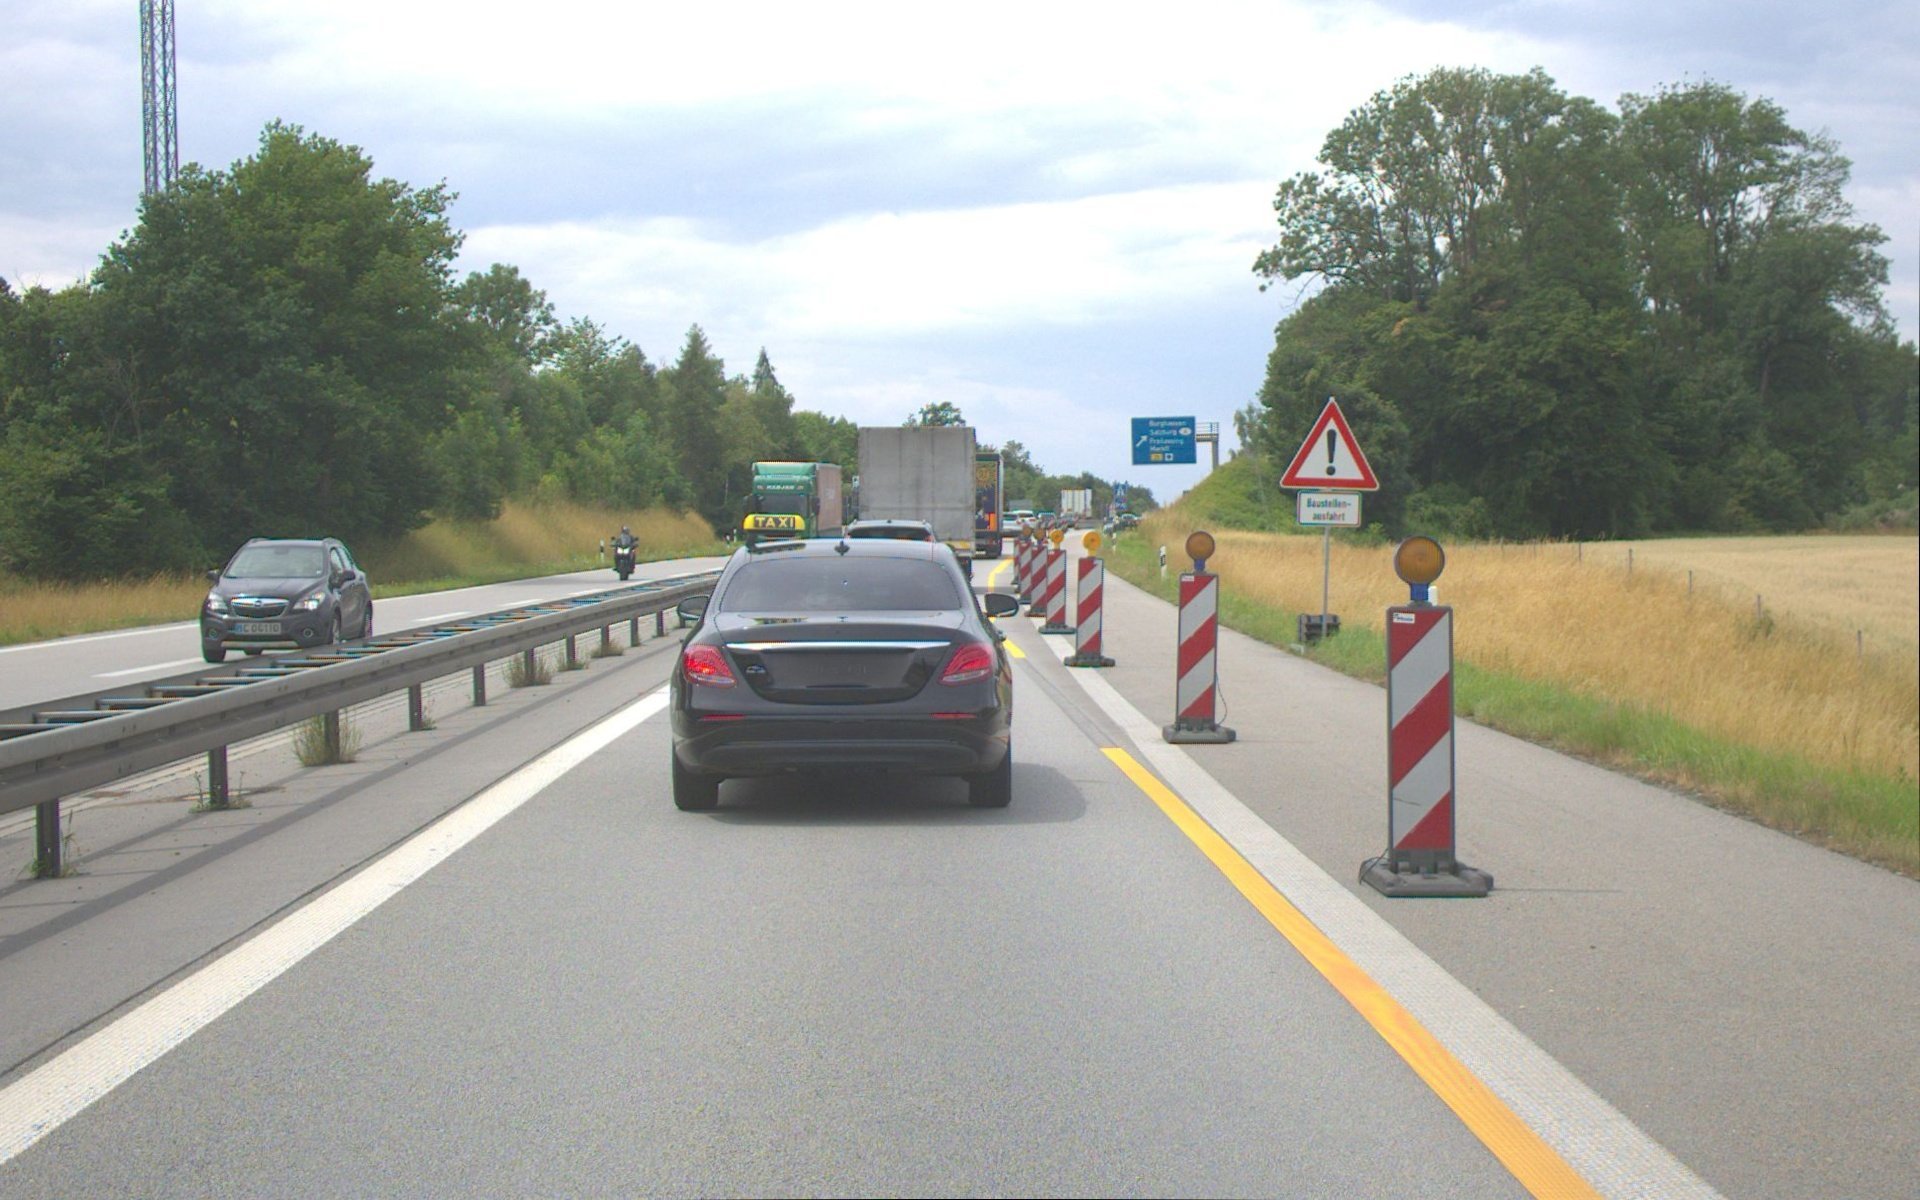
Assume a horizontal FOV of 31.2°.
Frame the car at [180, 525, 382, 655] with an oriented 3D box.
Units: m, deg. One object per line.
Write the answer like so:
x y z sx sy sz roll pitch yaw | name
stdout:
-9.252 -0.158 47.164 1.993 1.678 4.234 1 1 -1 | car

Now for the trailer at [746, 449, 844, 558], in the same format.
-6.688 -3.868 140.936 3.151 4.198 11.642 1 1 1 | trailer

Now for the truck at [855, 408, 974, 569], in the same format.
-1.057 -2.470 77.894 2.586 3.512 4.813 1 1 -1 | truck

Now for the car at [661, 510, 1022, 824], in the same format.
-0.665 0.316 19.261 1.795 1.554 4.000 1 1 -2 | car

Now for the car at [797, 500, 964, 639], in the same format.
-1.254 -0.469 52.314 1.993 2.007 4.001 1 1 -9 | car

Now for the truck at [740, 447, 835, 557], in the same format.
-6.780 -3.826 135.932 3.123 4.198 6.781 1 1 2 | truck

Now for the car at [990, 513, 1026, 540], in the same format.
2.671 -4.076 190.926 1.649 1.391 3.706 1 1 -4 | car

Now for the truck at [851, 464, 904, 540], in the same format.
-4.641 -5.534 194.715 2.640 4.156 6.985 1 1 1 | truck
